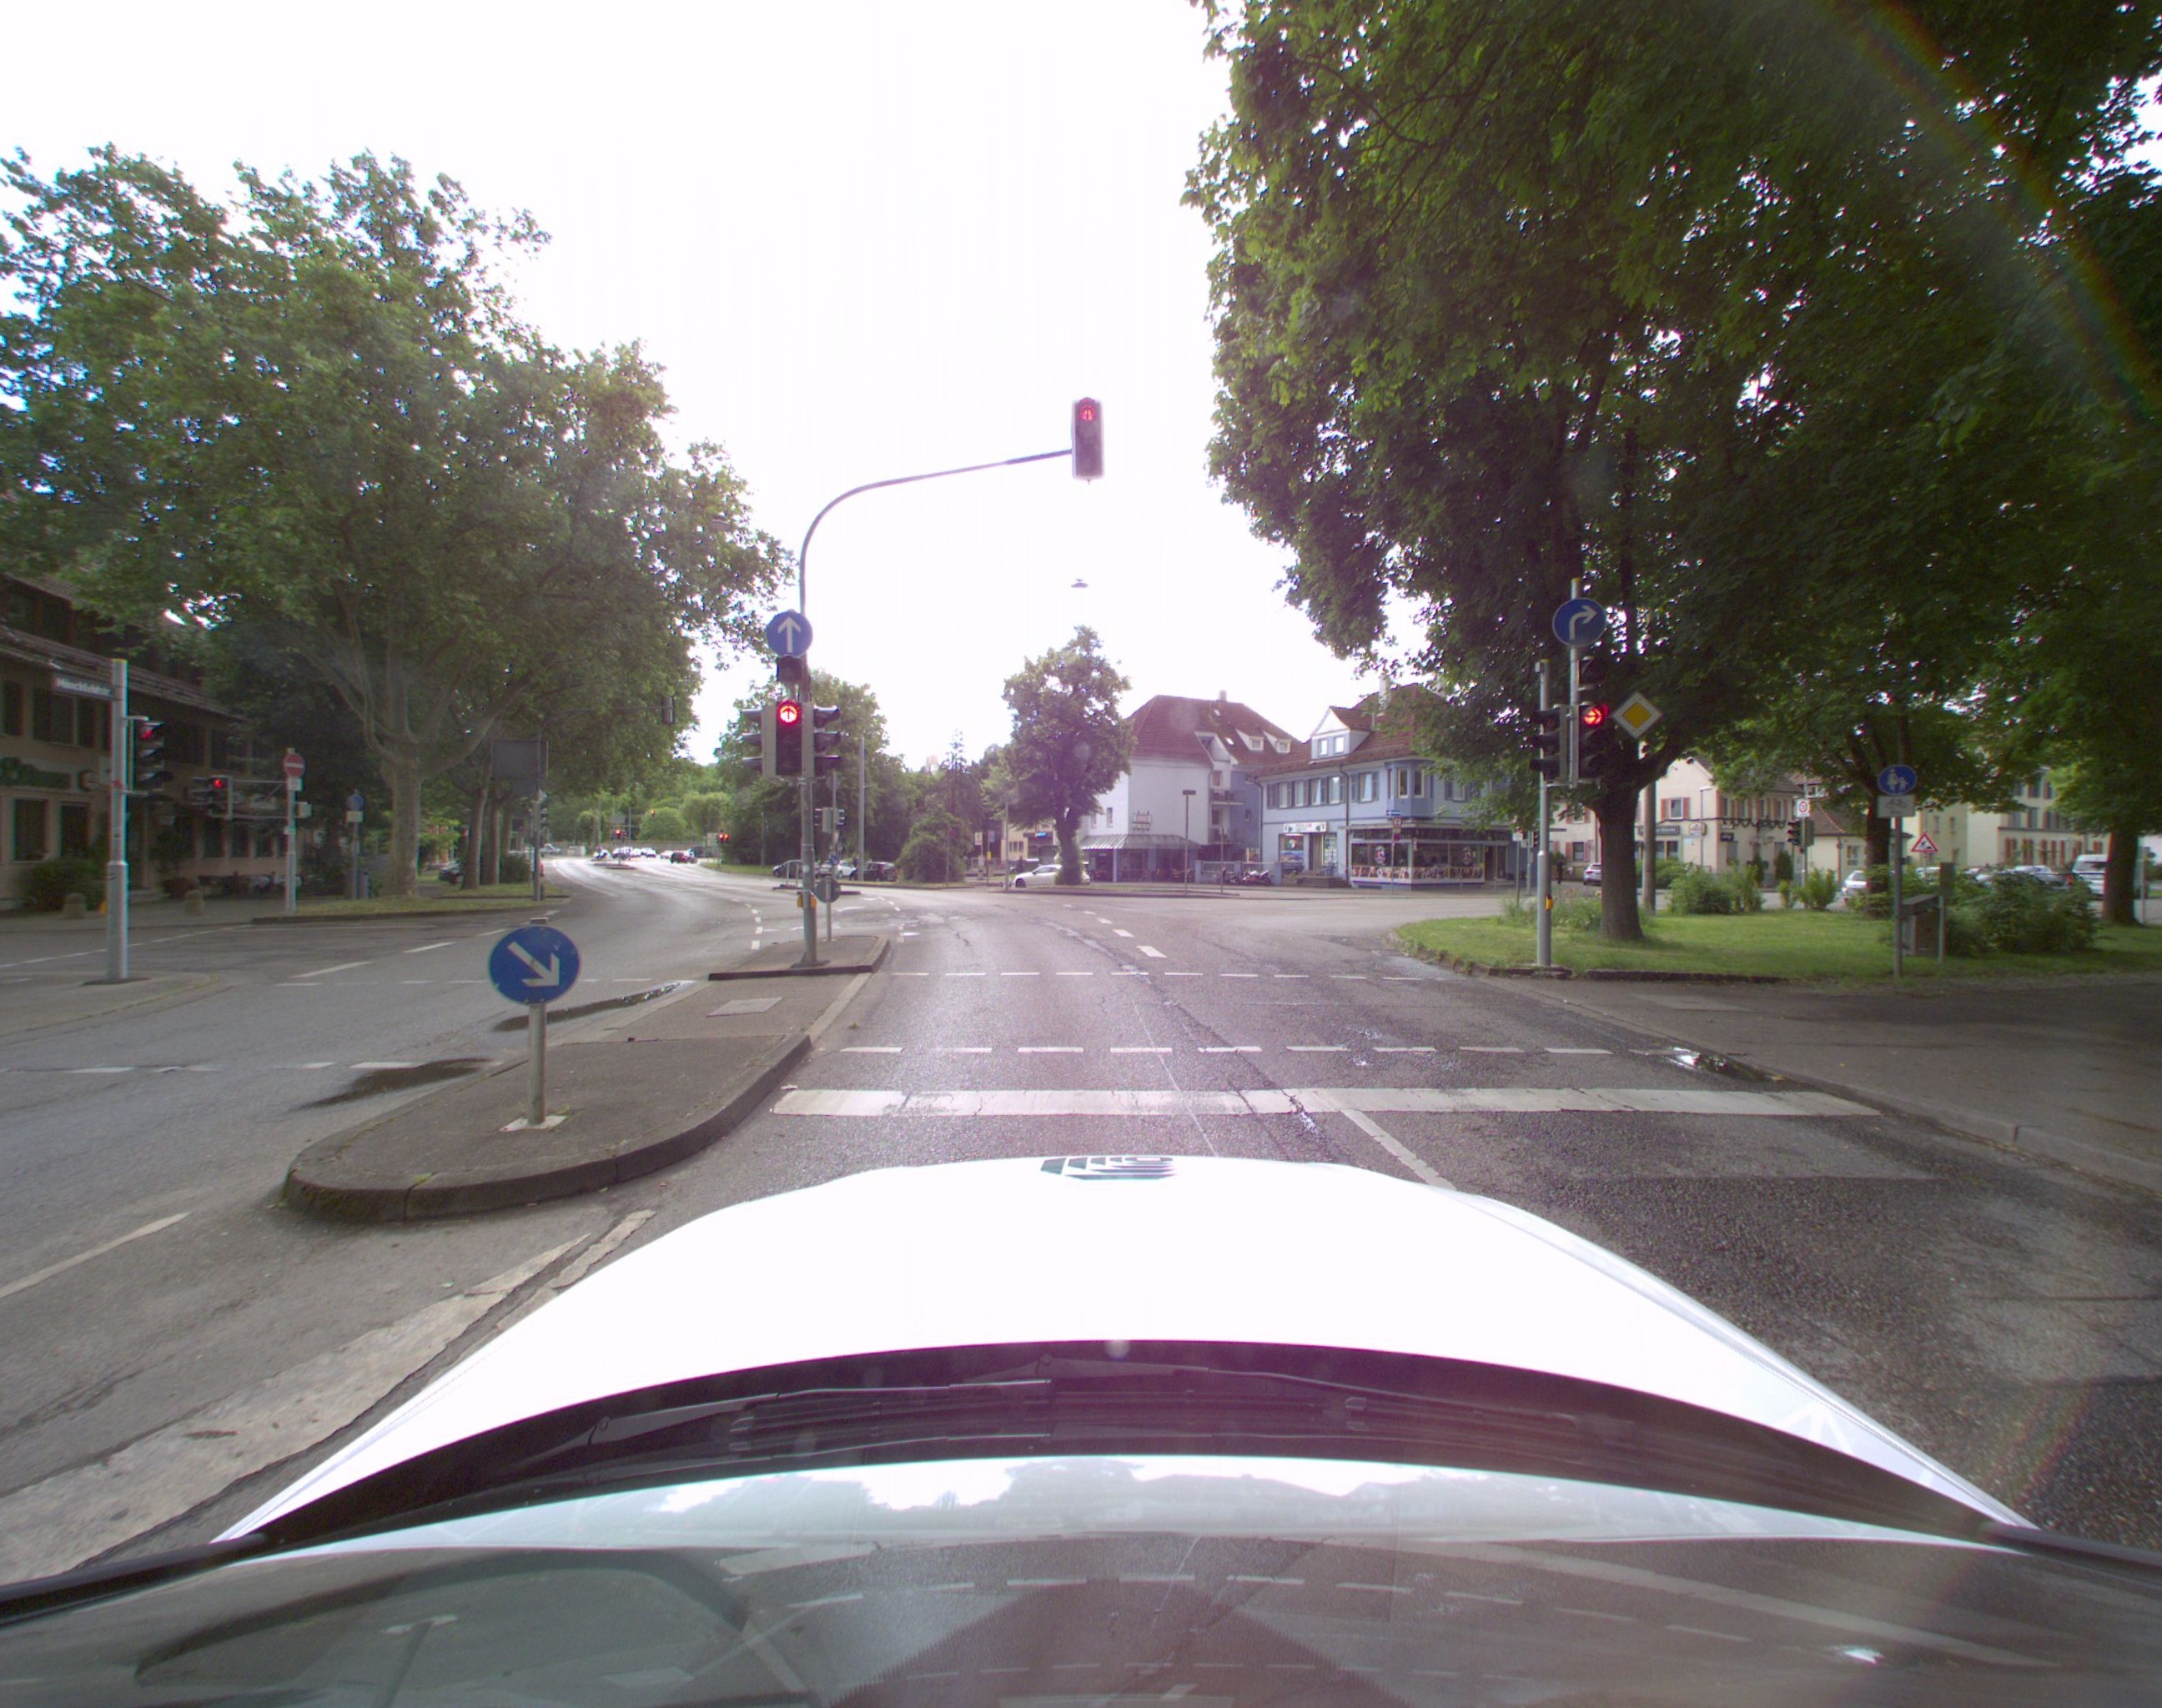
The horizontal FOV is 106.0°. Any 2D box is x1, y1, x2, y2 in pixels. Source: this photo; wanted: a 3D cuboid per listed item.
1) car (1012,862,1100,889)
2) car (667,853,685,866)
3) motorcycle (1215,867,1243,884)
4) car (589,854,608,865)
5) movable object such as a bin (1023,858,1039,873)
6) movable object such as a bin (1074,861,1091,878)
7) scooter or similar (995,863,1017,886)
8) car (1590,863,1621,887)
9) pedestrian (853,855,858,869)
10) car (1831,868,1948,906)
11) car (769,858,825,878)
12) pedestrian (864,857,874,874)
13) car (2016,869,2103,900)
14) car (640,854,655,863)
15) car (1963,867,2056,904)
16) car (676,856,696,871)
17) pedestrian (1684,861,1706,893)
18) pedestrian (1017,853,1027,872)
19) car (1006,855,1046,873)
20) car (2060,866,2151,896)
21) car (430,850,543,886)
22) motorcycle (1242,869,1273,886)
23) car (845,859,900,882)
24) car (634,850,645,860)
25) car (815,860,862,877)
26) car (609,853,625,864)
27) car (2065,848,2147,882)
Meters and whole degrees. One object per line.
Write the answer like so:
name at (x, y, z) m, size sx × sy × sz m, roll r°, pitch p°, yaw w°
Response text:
car at (-1.458, 1.190, 45.926) m, size 4.726 × 1.386 × 2.013 m, roll -1°, pitch -1°, yaw 36°
car at (-49.152, 0.700, 98.714) m, size 1.833 × 1.509 × 4.532 m, roll 0°, pitch 0°, yaw -28°
motorcycle at (9.055, 1.319, 49.952) m, size 1.703 × 1.031 × 0.492 m, roll -1°, pitch -1°, yaw 45°
car at (-68.611, 0.772, 115.899) m, size 1.770 × 1.466 × 3.989 m, roll 4°, pitch -2°, yaw -24°
movable object such as a bin at (-4.558, 1.033, 74.182) m, size 1.223 × 1.345 × 0.986 m, roll 0°, pitch -1°, yaw -30°
movable object such as a bin at (0.126, 1.350, 70.632) m, size 1.218 × 1.395 × 1.153 m, roll 0°, pitch -1°, yaw -20°
scooter or similar at (-3.961, 1.101, 42.970) m, size 0.407 × 1.167 × 1.370 m, roll 0°, pitch -3°, yaw 28°
car at (32.514, 1.272, 50.552) m, size 1.551 × 1.462 × 3.461 m, roll 0°, pitch 0°, yaw 32°
pedestrian at (-24.997, 0.845, 90.339) m, size 0.512 × 1.531 × 0.773 m, roll 1°, pitch -1°, yaw -20°
car at (32.911, 1.298, 33.129) m, size 4.552 × 1.456 × 1.885 m, roll 0°, pitch -1°, yaw -24°
car at (-22.640, 1.101, 64.941) m, size 4.063 × 1.429 × 1.743 m, roll 2°, pitch 0°, yaw 24°
pedestrian at (-19.603, 1.070, 75.225) m, size 0.687 × 1.551 × 0.736 m, roll 1°, pitch 0°, yaw -30°
car at (46.853, 1.431, 39.007) m, size 3.746 × 1.390 × 1.725 m, roll 0°, pitch -1°, yaw -24°
car at (-81.406, 0.845, 152.909) m, size 2.002 × 1.655 × 4.393 m, roll 0°, pitch 1°, yaw -23°
car at (42.253, 1.406, 37.057) m, size 4.008 × 1.572 × 1.857 m, roll 0°, pitch -1°, yaw -27°
car at (-52.052, 1.255, 107.432) m, size 2.000 × 1.926 × 3.973 m, roll 0°, pitch 0°, yaw -20°
pedestrian at (33.260, 1.231, 44.118) m, size 0.648 × 1.697 × 0.750 m, roll 1°, pitch -1°, yaw -27°
pedestrian at (-5.431, 0.812, 74.892) m, size 0.691 × 1.729 × 0.605 m, roll 0°, pitch -1°, yaw -30°
car at (-5.163, 0.932, 76.066) m, size 3.428 × 1.630 × 1.612 m, roll 0°, pitch 0°, yaw -23°
car at (52.699, 1.342, 41.895) m, size 4.407 × 1.456 × 1.910 m, roll 0°, pitch -1°, yaw -24°
car at (-36.730, 0.807, 50.417) m, size 2.058 × 1.931 × 5.276 m, roll 0°, pitch 2°, yaw 42°
motorcycle at (10.464, 1.360, 48.208) m, size 1.800 × 0.985 × 0.525 m, roll -1°, pitch -1°, yaw 45°
car at (-13.888, 1.062, 54.223) m, size 3.450 × 1.404 × 1.583 m, roll 1°, pitch 0°, yaw 30°
car at (-95.299, 0.240, 175.780) m, size 2.007 × 2.014 × 3.959 m, roll 0°, pitch 0°, yaw -32°
car at (-20.095, 1.166, 67.668) m, size 1.746 × 1.380 × 4.278 m, roll 1°, pitch 0°, yaw 14°
car at (-74.857, 0.718, 131.367) m, size 1.805 × 1.586 × 4.380 m, roll -2°, pitch 2°, yaw -24°
car at (75.014, 0.770, 59.601) m, size 5.966 × 2.392 × 2.318 m, roll 0°, pitch -1°, yaw -24°
